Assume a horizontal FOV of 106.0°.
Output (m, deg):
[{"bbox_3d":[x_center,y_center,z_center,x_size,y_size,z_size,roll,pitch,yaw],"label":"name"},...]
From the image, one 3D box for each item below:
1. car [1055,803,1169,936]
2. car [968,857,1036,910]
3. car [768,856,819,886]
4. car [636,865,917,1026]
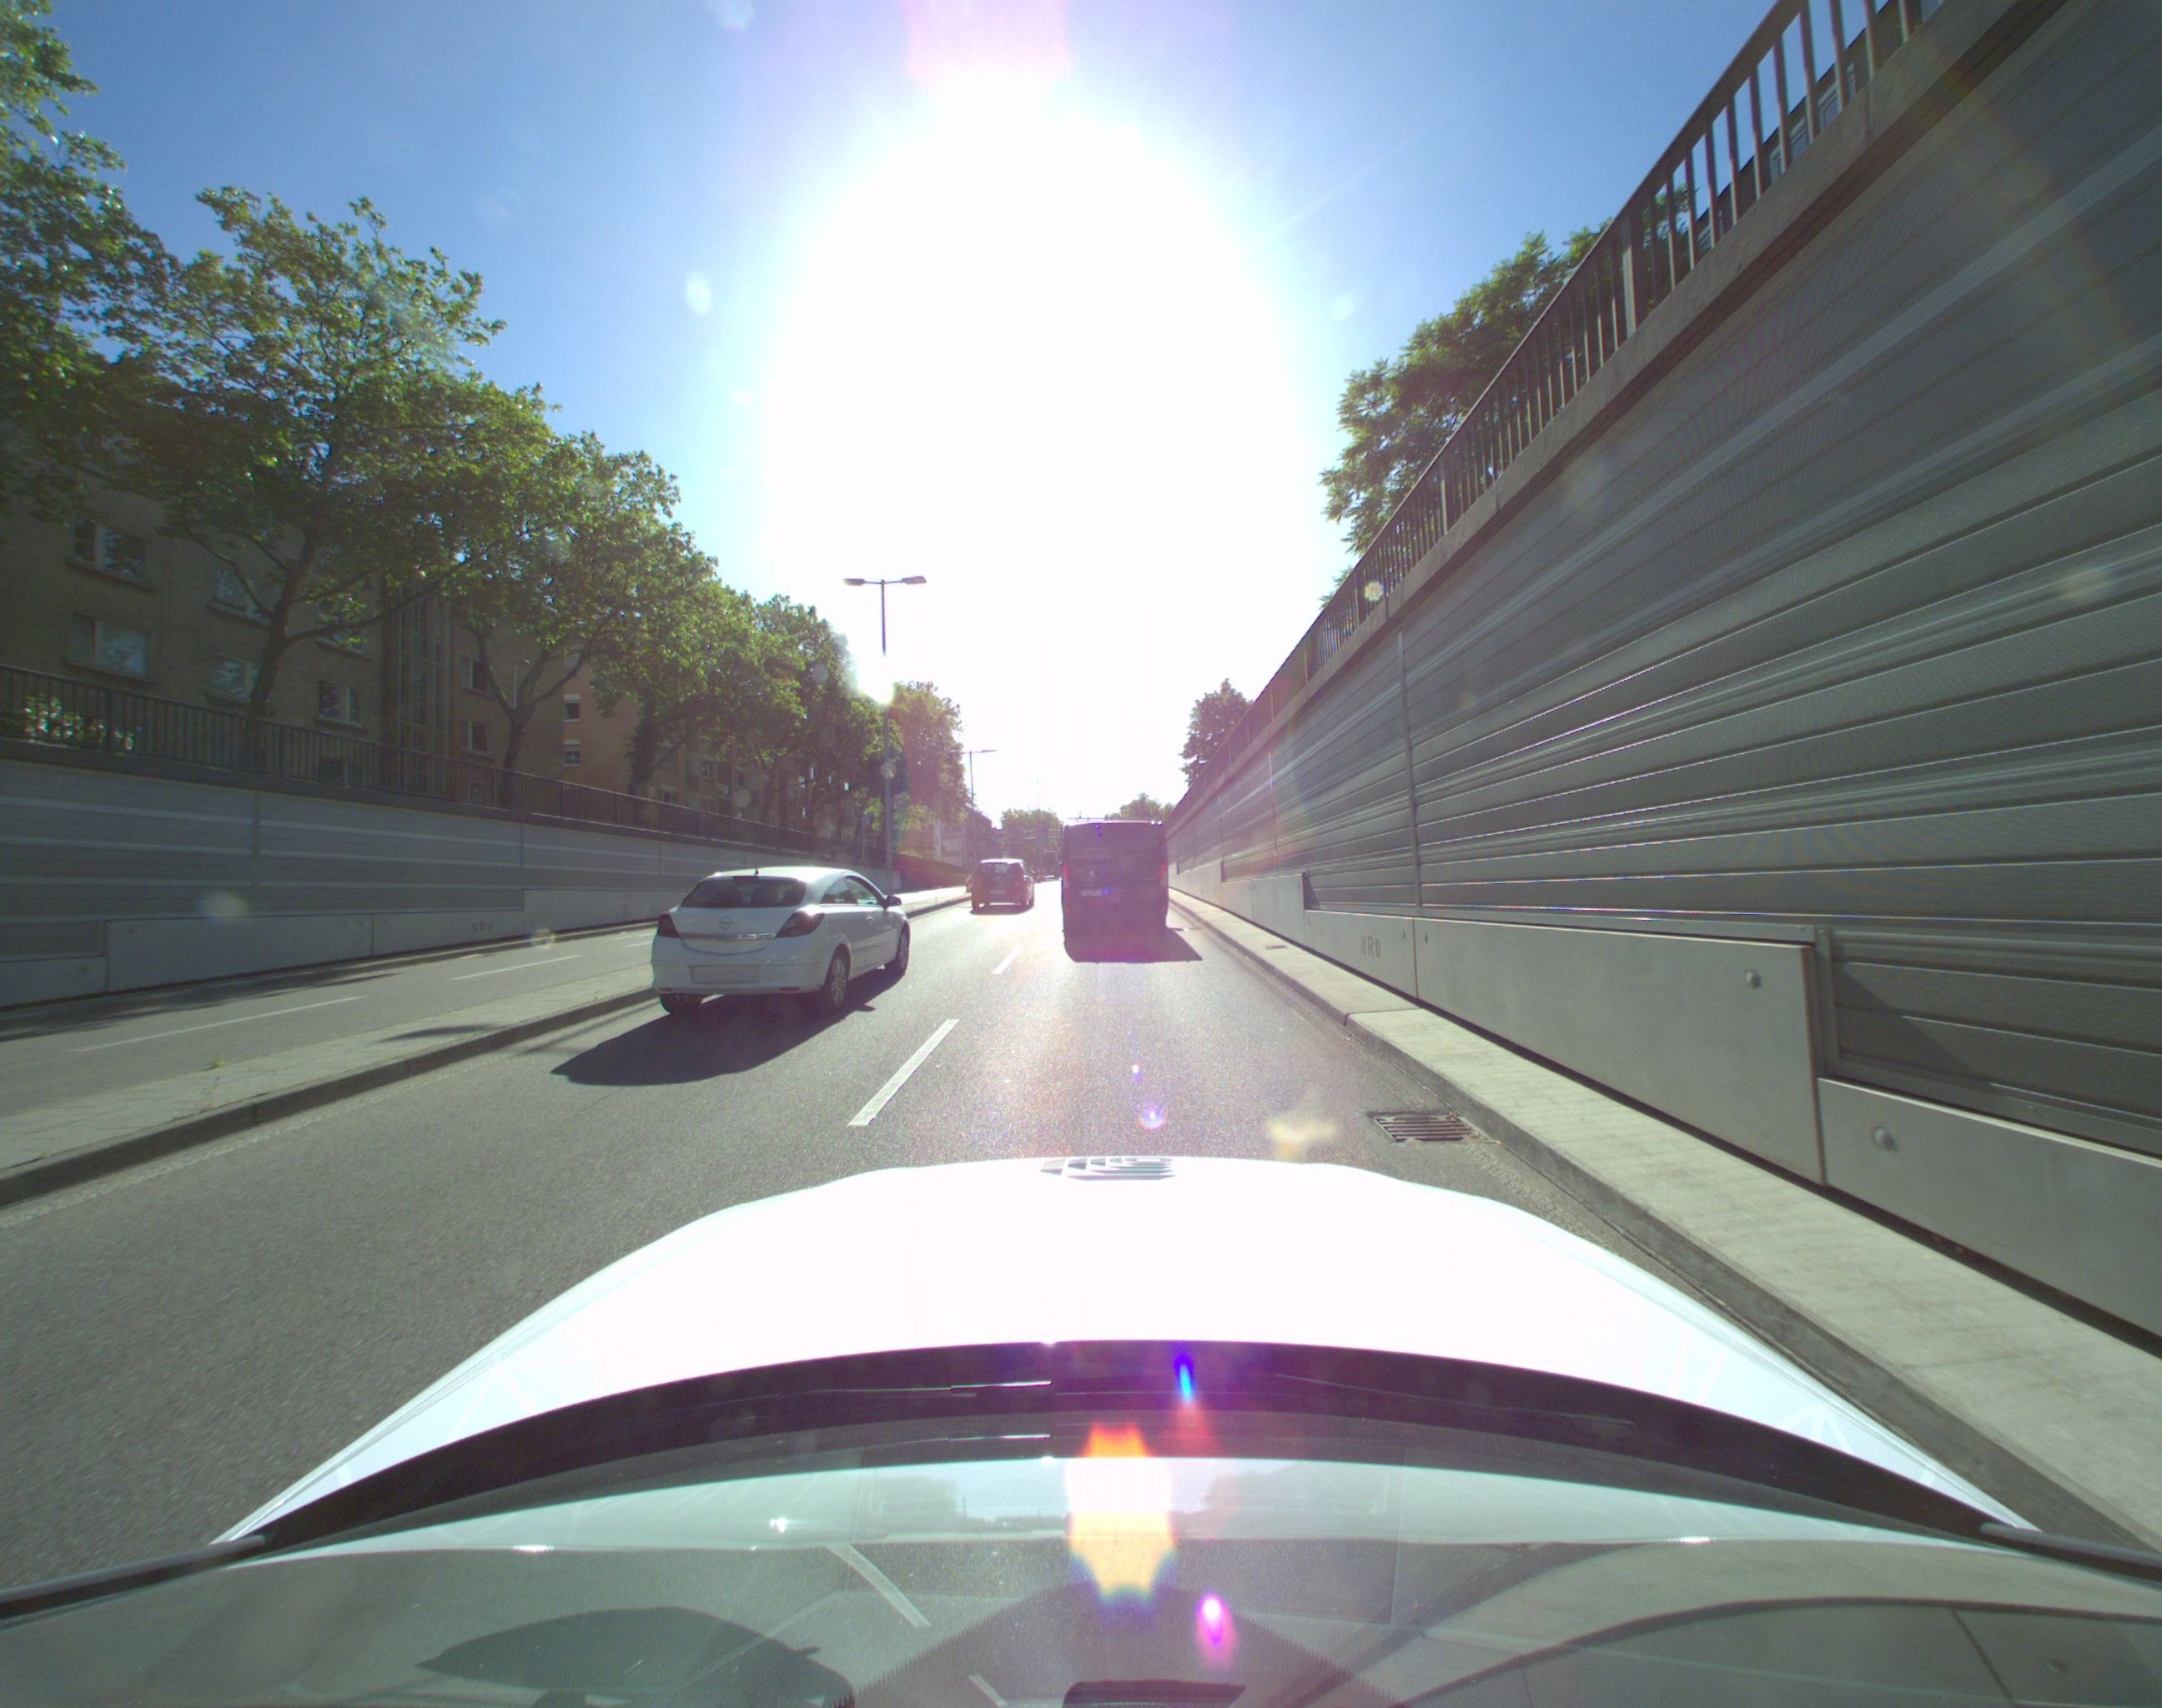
[{"bbox_3d":[0.639,0.324,16.937,2.022,2.403,3.974,-2,-1,2],"label":"car"},{"bbox_3d":[-2.347,0.860,24.984,1.683,1.483,3.319,-1,0,1],"label":"car"},{"bbox_3d":[-20.263,1.245,57.559,1.959,1.961,4.525,-1,-2,0],"label":"car"},{"bbox_3d":[-3.094,0.847,9.149,1.613,1.403,3.853,-1,-1,1],"label":"car"}]
